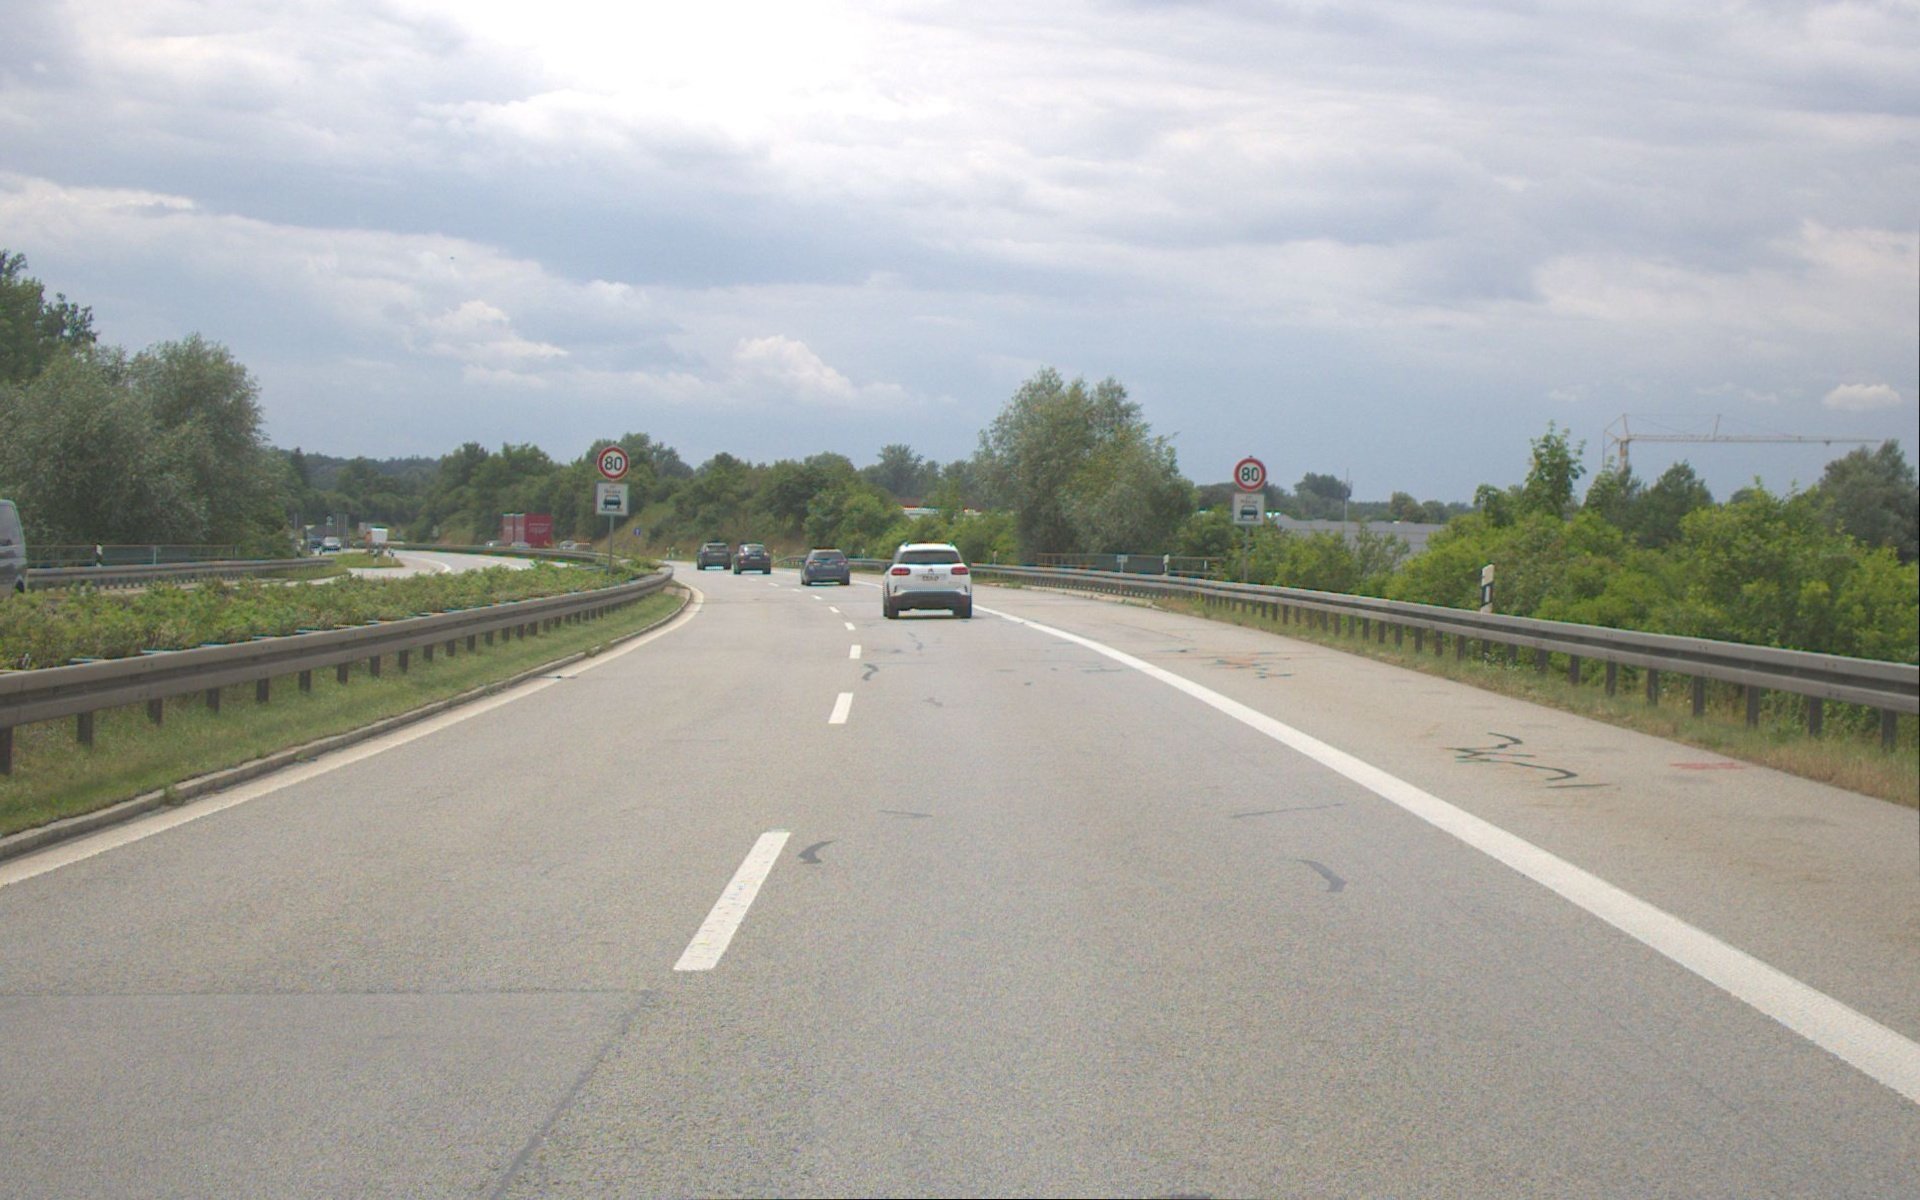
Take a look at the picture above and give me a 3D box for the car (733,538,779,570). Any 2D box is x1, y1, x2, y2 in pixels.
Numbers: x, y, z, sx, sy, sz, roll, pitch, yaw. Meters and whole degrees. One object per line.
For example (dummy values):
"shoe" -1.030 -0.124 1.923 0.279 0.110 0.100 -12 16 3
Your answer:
"car" -10.715 -2.402 180.180 1.902 1.634 4.781 1 1 -9

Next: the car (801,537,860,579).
"car" -5.168 -1.697 136.354 1.892 1.634 4.623 0 1 -8

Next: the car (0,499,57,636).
"car" -13.958 -0.464 47.241 1.700 1.878 5.228 1 1 0

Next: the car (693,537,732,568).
"car" -14.898 -2.858 206.488 1.826 1.787 4.415 0 1 -11

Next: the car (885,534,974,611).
"car" -0.703 -0.638 76.529 1.902 1.634 4.396 1 1 -1
